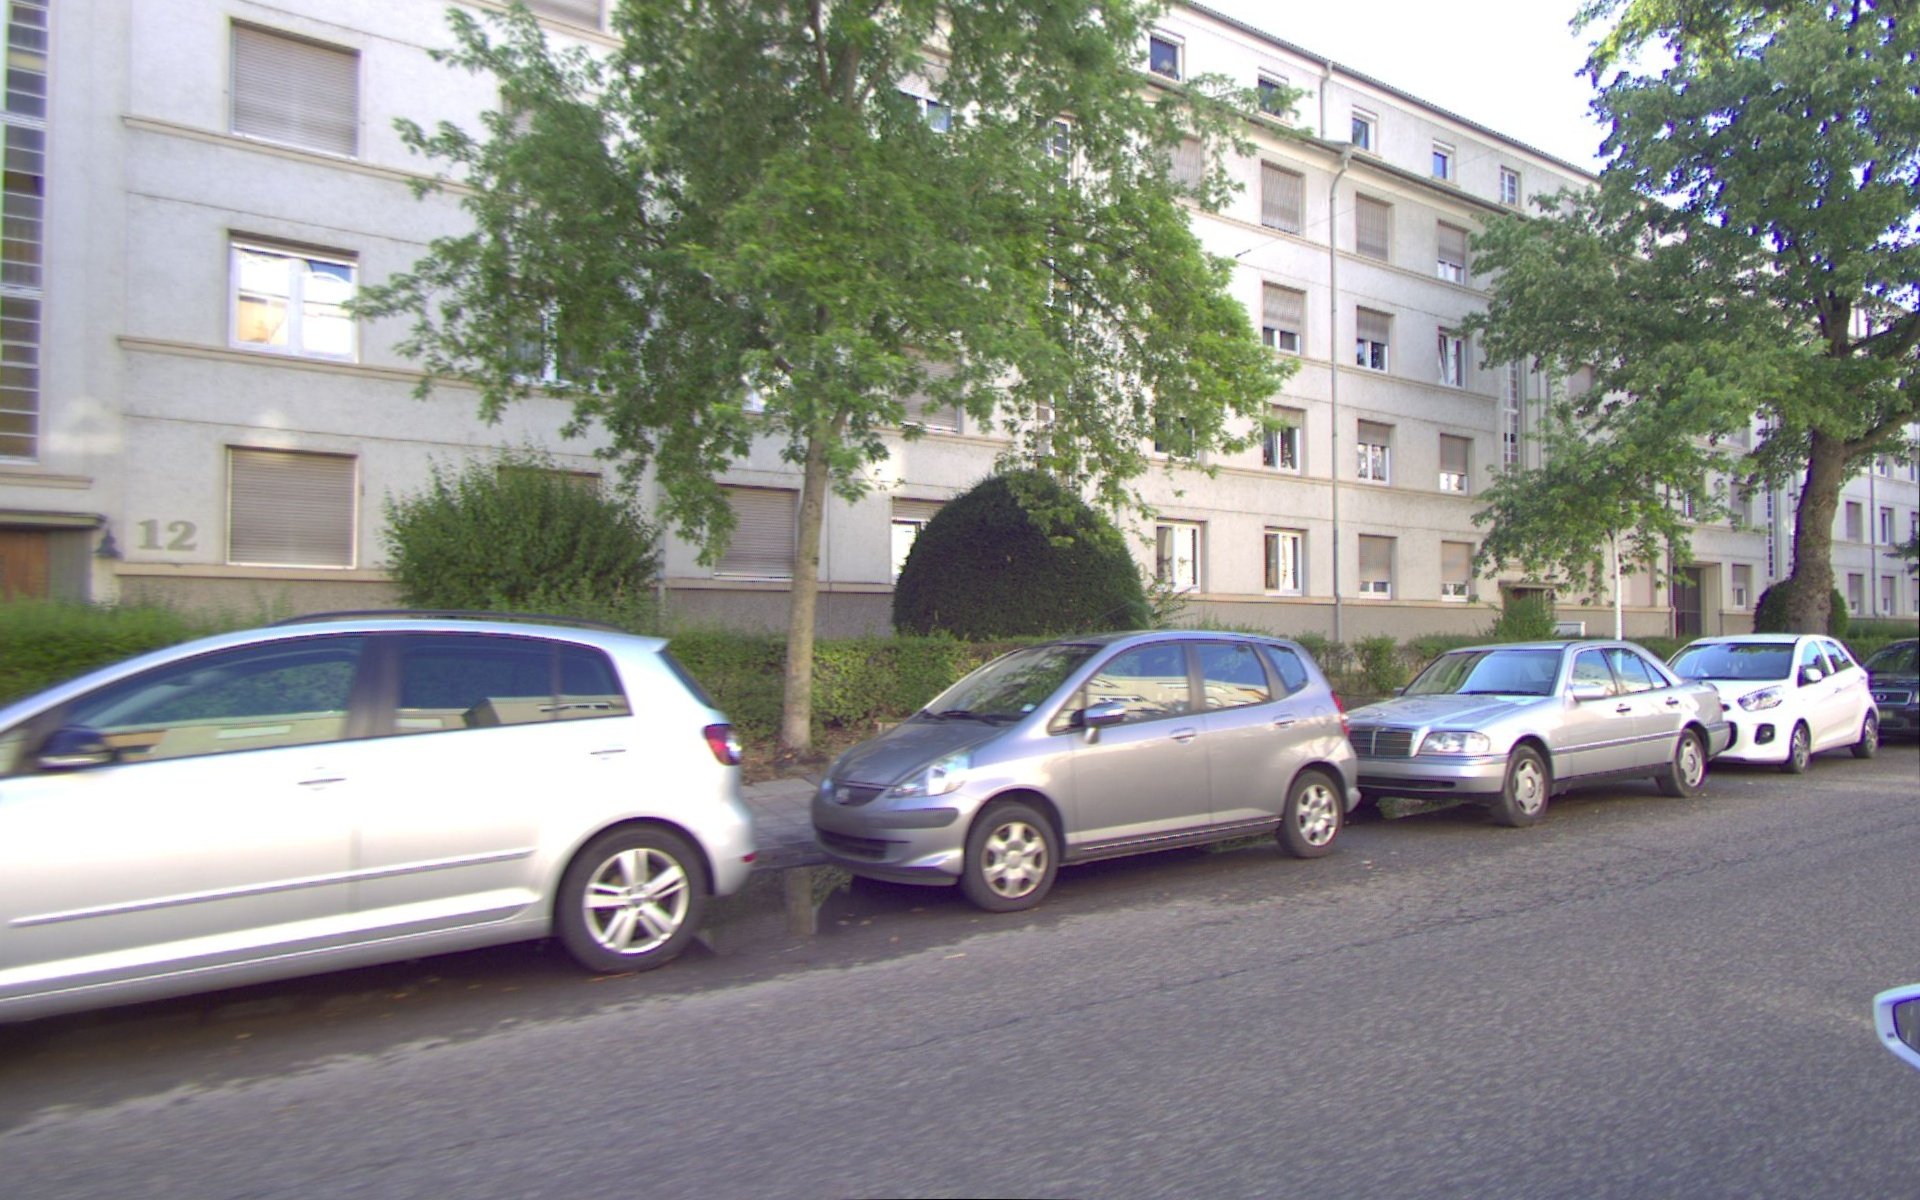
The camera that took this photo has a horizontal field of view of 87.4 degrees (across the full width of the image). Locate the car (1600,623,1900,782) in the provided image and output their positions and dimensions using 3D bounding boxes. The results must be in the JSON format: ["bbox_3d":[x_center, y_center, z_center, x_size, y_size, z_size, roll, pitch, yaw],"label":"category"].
[{"bbox_3d":[9.309,1.119,11.824,3.223,1.595,1.699,2,-1,-30],"label":"car"}]

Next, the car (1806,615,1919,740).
[{"bbox_3d":[13.681,1.071,13.965,3.774,1.594,1.700,2,-5,-30],"label":"car"}]

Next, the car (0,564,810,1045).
[{"bbox_3d":[-2.881,0.751,4.575,3.956,1.572,1.864,2,-4,-32],"label":"car"}]

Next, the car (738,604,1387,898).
[{"bbox_3d":[0.758,0.798,6.658,3.956,1.373,1.863,2,0,-32],"label":"car"}]

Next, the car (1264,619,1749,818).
[{"bbox_3d":[5.114,0.944,9.212,4.602,1.373,1.863,2,0,-32],"label":"car"}]
